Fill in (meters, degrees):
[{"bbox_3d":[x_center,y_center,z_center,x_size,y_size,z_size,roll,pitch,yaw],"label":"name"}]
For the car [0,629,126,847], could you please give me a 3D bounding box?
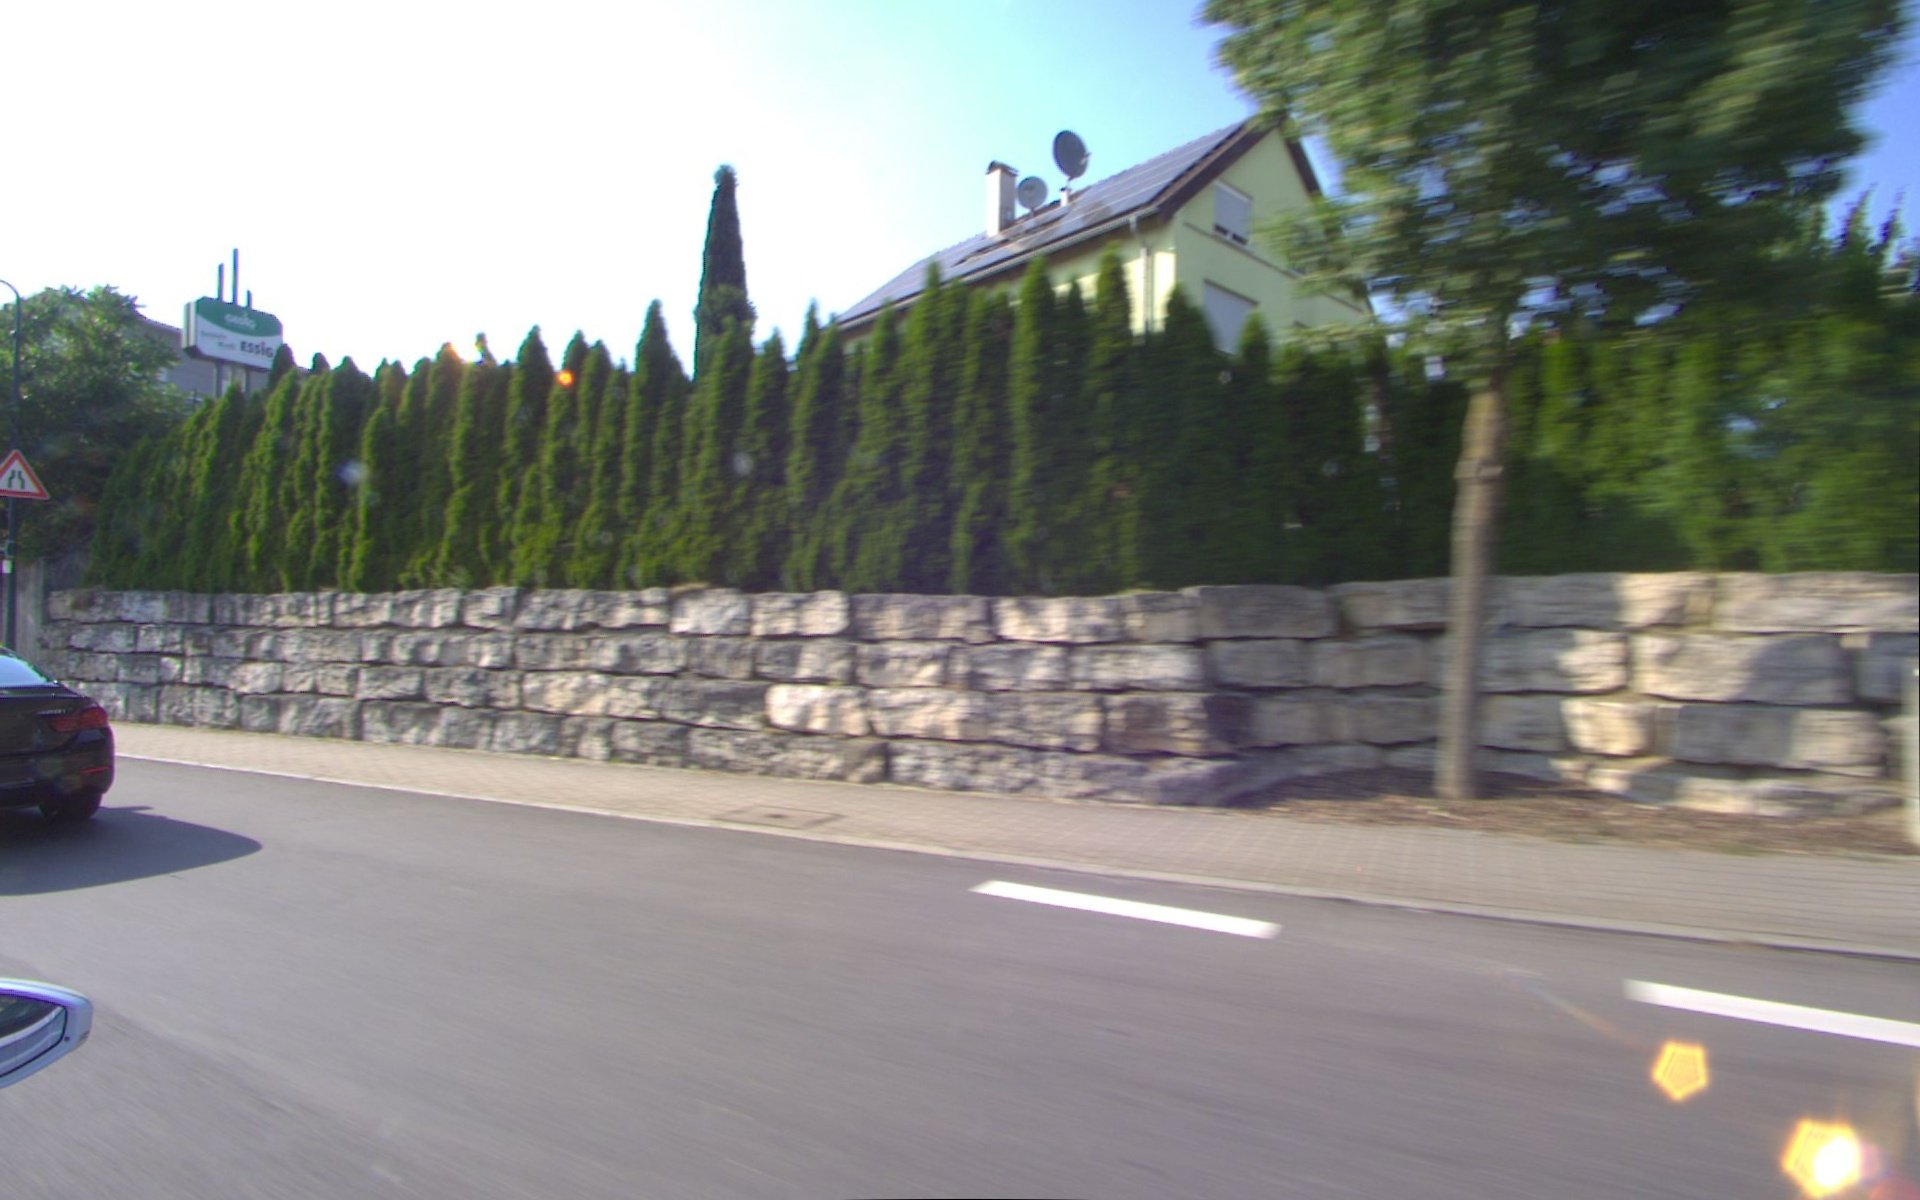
[{"bbox_3d":[-8.207,0.927,7.471,4.197,1.387,1.698,0,0,30],"label":"car"}]
